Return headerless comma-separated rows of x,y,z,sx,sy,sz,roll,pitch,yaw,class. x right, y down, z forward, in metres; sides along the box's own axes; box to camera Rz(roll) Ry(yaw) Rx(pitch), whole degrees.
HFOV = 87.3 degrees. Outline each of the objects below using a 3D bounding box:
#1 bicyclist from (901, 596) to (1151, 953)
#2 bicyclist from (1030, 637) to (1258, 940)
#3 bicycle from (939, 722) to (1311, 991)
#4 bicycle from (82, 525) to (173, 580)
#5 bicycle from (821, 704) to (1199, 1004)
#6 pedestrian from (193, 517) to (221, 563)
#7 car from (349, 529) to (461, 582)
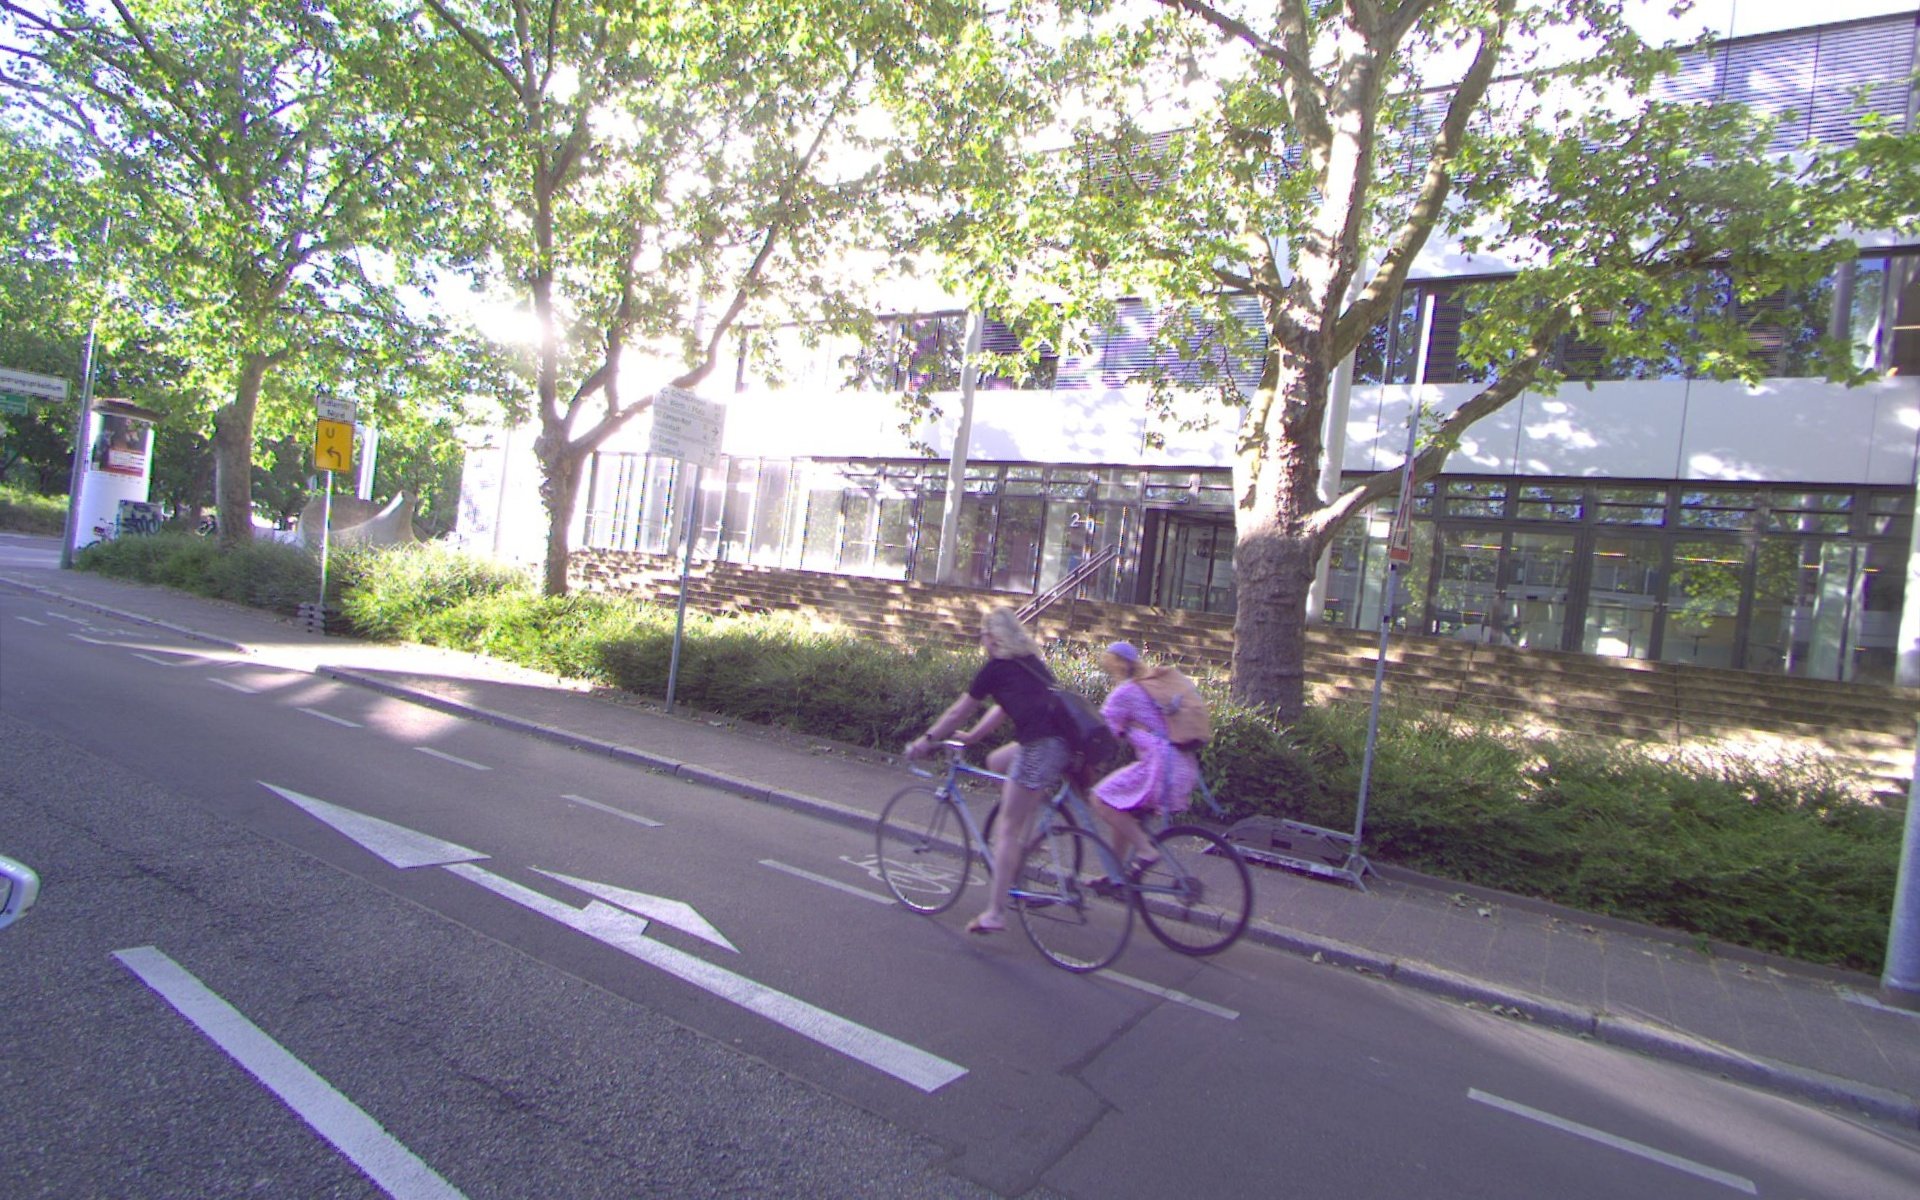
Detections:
0.336,0.817,5.021,0.875,1.533,0.611,7,-2,32,bicyclist
1.022,0.989,5.553,0.915,1.417,0.602,7,-2,32,bicyclist
0.877,1.331,5.601,1.850,0.996,0.602,7,-2,32,bicycle
-19.087,-1.085,23.092,0.529,1.049,1.418,7,-1,28,bicycle
0.219,1.180,5.065,1.702,1.038,0.611,7,-2,32,bicycle
-31.408,-2.482,41.956,0.620,1.805,0.620,7,0,34,pedestrian
-25.882,-2.044,46.995,1.969,1.805,3.998,7,-1,37,car
